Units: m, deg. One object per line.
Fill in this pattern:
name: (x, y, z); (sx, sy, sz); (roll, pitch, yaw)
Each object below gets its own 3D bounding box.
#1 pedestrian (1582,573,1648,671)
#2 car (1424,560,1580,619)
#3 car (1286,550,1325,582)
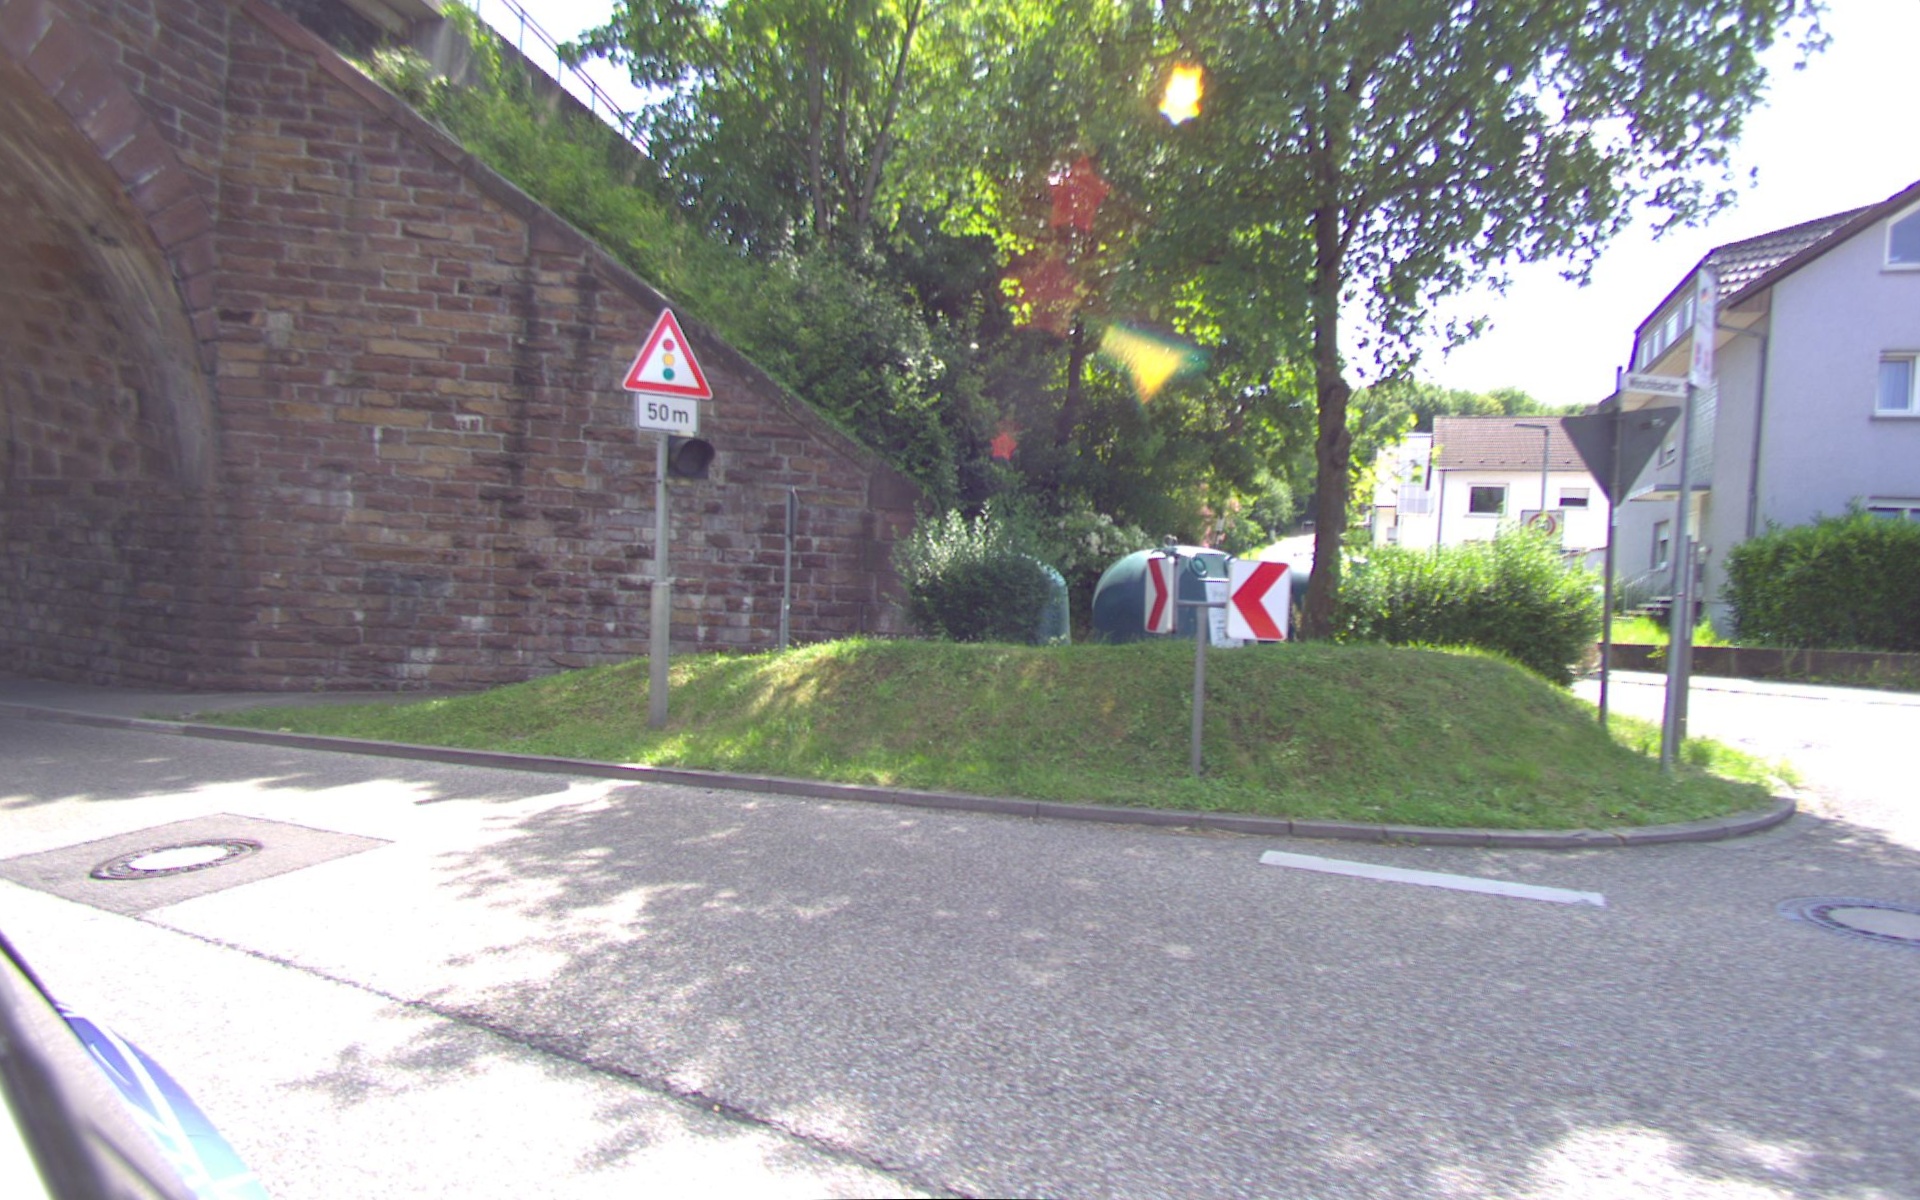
pedestrian: (11.807, 0.392, 18.261); (0.678, 1.725, 0.789); (0, 0, 1)
car: (19.421, -0.329, 36.504); (4.677, 2.029, 1.986); (0, -1, 21)
car: (24.697, -2.396, 72.461); (1.979, 2.029, 4.696); (0, 0, 11)
